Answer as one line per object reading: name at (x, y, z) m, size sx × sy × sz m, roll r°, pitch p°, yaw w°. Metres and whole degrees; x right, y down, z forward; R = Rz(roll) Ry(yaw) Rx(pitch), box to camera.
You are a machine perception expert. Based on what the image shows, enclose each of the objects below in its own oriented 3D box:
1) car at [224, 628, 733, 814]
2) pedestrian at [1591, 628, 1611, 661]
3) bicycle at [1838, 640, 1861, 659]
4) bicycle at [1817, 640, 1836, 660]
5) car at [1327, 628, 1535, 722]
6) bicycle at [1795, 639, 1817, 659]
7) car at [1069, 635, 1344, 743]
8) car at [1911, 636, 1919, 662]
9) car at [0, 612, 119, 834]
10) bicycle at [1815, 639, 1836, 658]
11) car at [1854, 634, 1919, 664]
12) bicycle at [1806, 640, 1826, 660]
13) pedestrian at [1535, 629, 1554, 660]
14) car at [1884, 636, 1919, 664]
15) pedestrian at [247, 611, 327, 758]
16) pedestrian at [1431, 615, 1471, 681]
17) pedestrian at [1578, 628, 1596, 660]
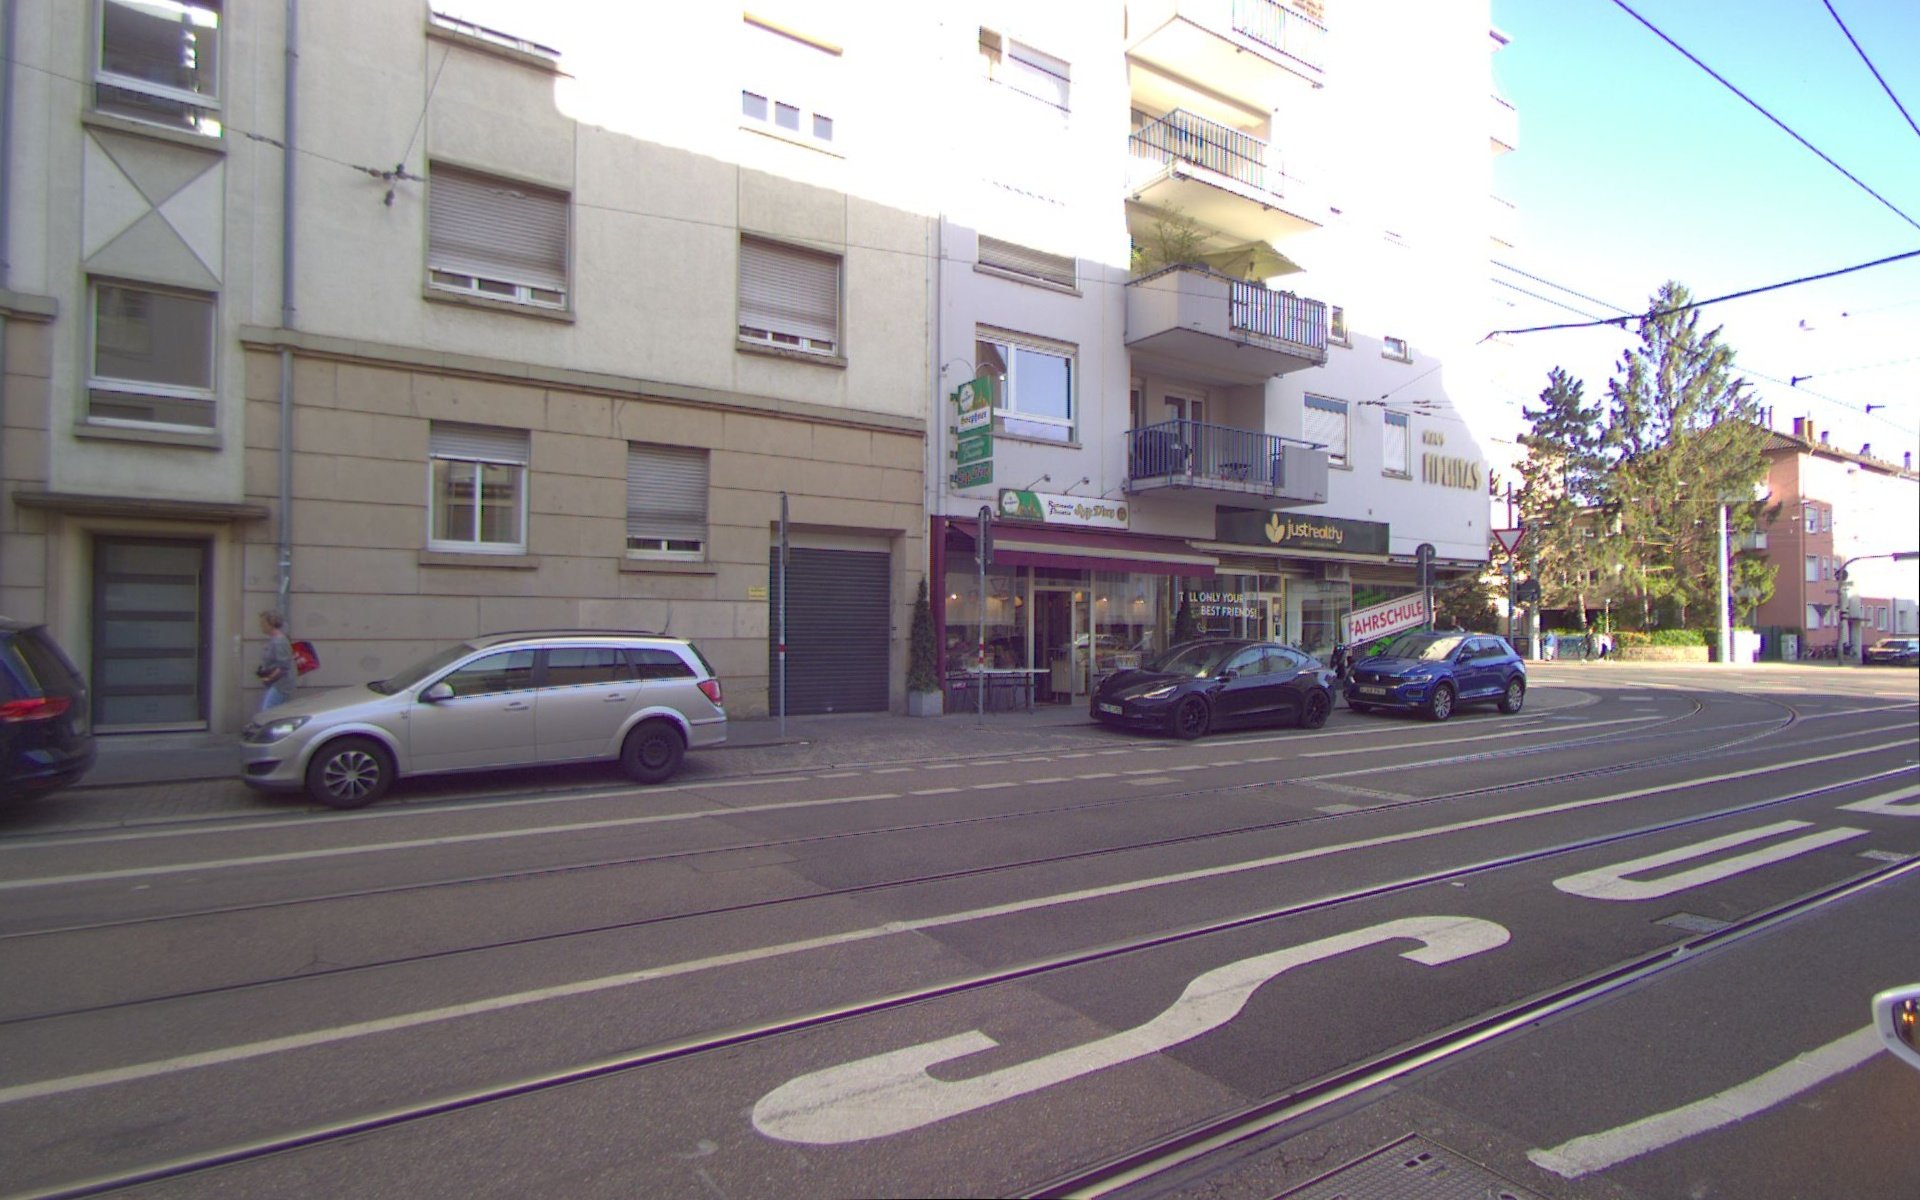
car at (-4.709, 1.053, 10.212) m, size 4.343 × 1.497 × 1.785 m, roll 1°, pitch -1°, yaw -34°
pedestrian at (33.761, 2.328, 52.901) m, size 0.798 × 1.725 × 0.604 m, roll -1°, pitch -2°, yaw 37°
bicycle at (53.157, 2.934, 60.023) m, size 1.892 × 1.097 × 0.605 m, roll 1°, pitch -2°, yaw -37°
bicycle at (47.605, 2.744, 55.163) m, size 1.895 × 1.097 × 0.532 m, roll 2°, pitch -2°, yaw -41°
car at (8.990, 1.347, 19.083) m, size 4.072 × 1.525 × 1.714 m, roll 1°, pitch 1°, yaw -34°
bicycle at (46.882, 2.722, 55.630) m, size 1.895 × 1.097 × 0.634 m, roll 2°, pitch -2°, yaw -41°
car at (4.010, 1.318, 16.040) m, size 4.442 × 1.422 × 1.714 m, roll 1°, pitch 1°, yaw -34°
car at (58.127, 2.893, 59.449) m, size 3.961 × 1.539 × 1.938 m, roll 1°, pitch -2°, yaw -36°
car at (-8.997, 0.884, 7.190) m, size 4.343 × 1.620 × 1.785 m, roll 1°, pitch -1°, yaw -34°
bicycle at (50.740, 2.857, 58.879) m, size 1.892 × 1.097 × 0.533 m, roll 1°, pitch -2°, yaw -37°
car at (49.724, 2.613, 53.781) m, size 3.961 × 1.539 × 1.938 m, roll 1°, pitch -2°, yaw -36°
bicycle at (47.177, 2.732, 55.338) m, size 1.895 × 1.097 × 0.532 m, roll 2°, pitch -2°, yaw -41°
pedestrian at (32.756, 2.495, 56.301) m, size 0.800 × 1.725 × 0.676 m, roll -1°, pitch -2°, yaw 44°
car at (54.273, 2.837, 57.011) m, size 4.006 × 1.539 × 1.938 m, roll 1°, pitch -2°, yaw -36°
pedestrian at (-7.394, 0.907, 11.060) m, size 0.686 × 1.562 × 0.565 m, roll 1°, pitch -2°, yaw -32°
pedestrian at (14.009, 1.353, 28.670) m, size 0.707 × 1.859 × 0.771 m, roll 0°, pitch -1°, yaw -3°
pedestrian at (33.838, 2.387, 54.209) m, size 0.798 × 1.725 × 0.632 m, roll -1°, pitch -2°, yaw 37°
